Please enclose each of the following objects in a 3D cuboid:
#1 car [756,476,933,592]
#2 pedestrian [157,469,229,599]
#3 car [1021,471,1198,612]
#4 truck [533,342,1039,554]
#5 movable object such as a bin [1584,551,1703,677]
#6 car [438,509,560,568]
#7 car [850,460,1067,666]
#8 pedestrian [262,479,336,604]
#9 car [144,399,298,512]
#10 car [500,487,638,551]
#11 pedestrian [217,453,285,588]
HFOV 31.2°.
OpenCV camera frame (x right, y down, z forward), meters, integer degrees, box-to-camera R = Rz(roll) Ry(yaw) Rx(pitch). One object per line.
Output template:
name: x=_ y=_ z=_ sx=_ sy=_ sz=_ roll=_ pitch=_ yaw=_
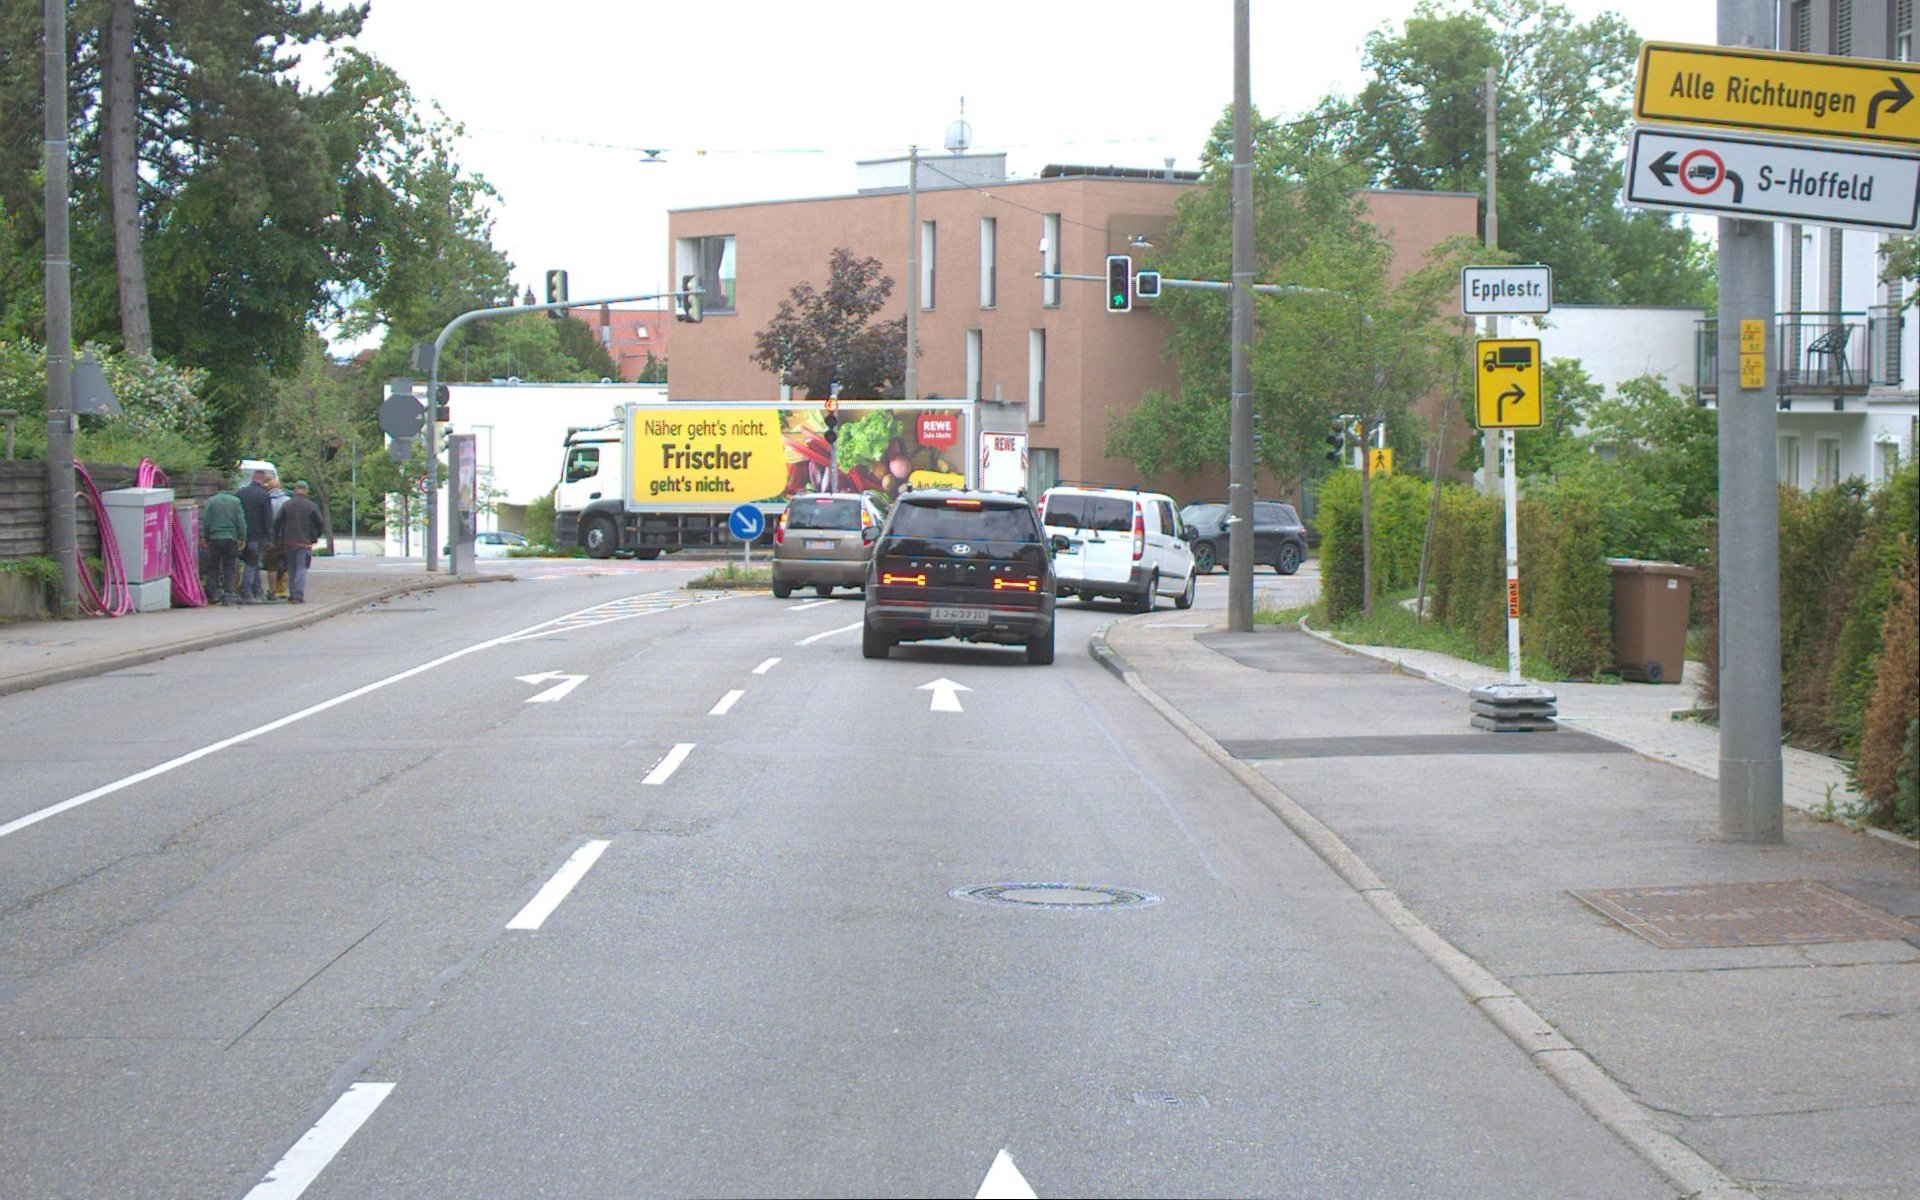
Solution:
car: x=-1.736 y=-1.038 z=52.977 sx=1.894 sy=1.700 sz=3.998 roll=1 pitch=2 yaw=11
pedestrian: x=-10.487 y=-0.908 z=46.989 sx=0.815 sy=1.757 sz=0.868 roll=0 pitch=2 yaw=-23
car: x=2.433 y=-0.978 z=54.774 sx=1.963 sy=2.006 sz=4.426 roll=4 pitch=3 yaw=12
truck: x=-4.181 y=-3.603 z=80.726 sx=11.772 sy=4.718 sz=3.131 roll=2 pitch=2 yaw=26
movable object such as a bin: x=5.990 y=0.122 z=30.136 sx=0.714 sy=1.070 sz=0.682 roll=2 pitch=1 yaw=-38
car: x=-16.305 y=-2.181 z=121.474 sx=3.986 sy=2.006 sz=2.001 roll=0 pitch=2 yaw=-17
car: x=-0.042 y=-0.414 z=34.995 sx=1.993 sy=1.875 sz=4.001 roll=3 pitch=2 yaw=-1
pedestrian: x=-9.275 y=-0.832 z=48.231 sx=0.695 sy=1.728 sz=0.750 roll=2 pitch=2 yaw=44
car: x=-15.439 y=-2.978 z=71.529 sx=2.280 sy=2.220 sz=6.474 roll=0 pitch=2 yaw=-20
car: x=-12.652 y=-2.643 z=111.330 sx=3.986 sy=2.006 sz=2.000 roll=-1 pitch=2 yaw=-28
pedestrian: x=-9.717 y=-1.095 z=47.106 sx=0.750 sy=1.831 sz=0.615 roll=0 pitch=2 yaw=-29
